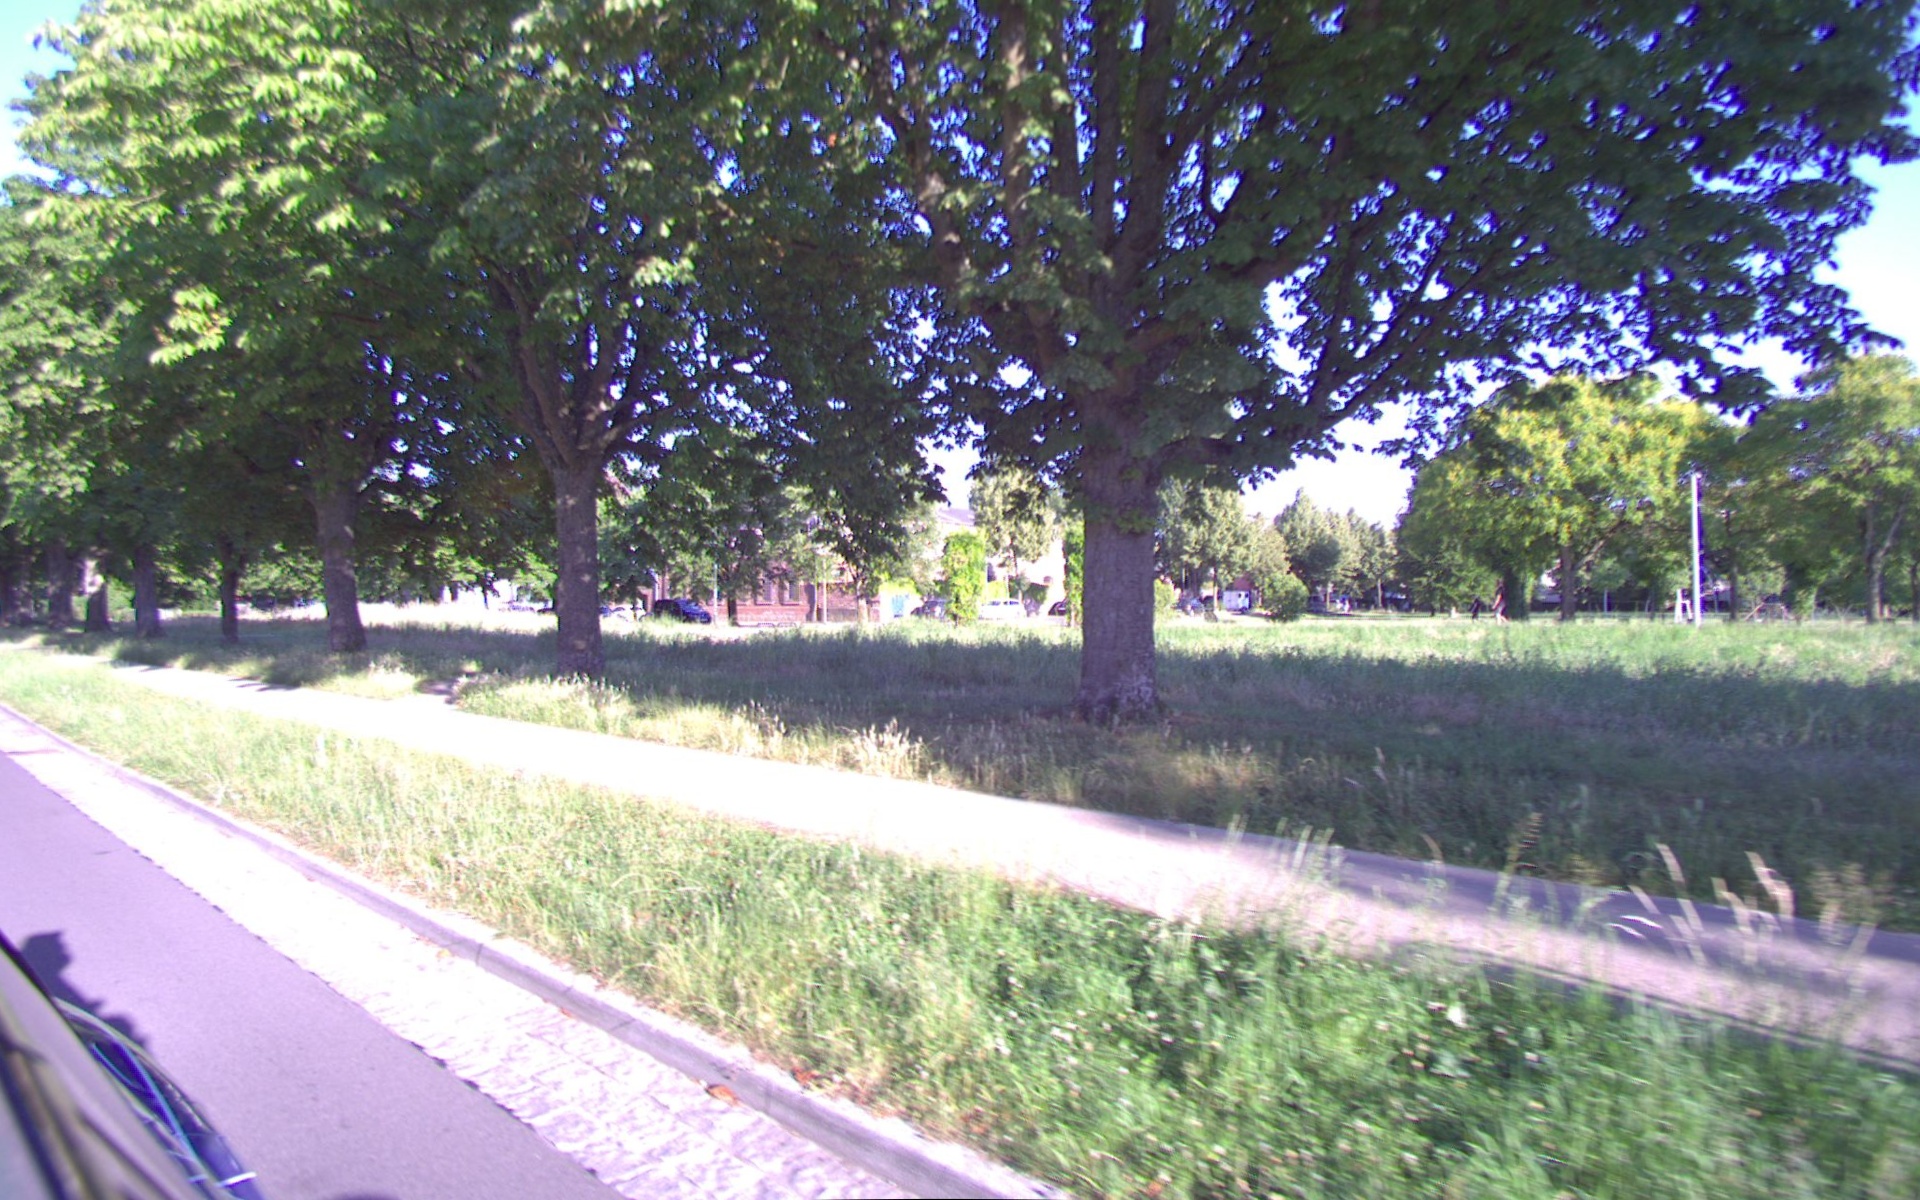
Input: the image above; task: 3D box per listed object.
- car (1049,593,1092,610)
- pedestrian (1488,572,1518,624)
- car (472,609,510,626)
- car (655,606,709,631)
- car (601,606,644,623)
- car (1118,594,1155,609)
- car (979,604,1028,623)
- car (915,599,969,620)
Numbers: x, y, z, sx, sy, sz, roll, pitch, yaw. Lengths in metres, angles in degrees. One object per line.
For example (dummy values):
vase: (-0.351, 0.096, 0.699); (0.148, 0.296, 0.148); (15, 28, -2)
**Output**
car: (8.859, 0.101, 80.778); (1.586, 1.290, 3.589); (0, 0, 42)
pedestrian: (18.484, -0.076, 34.469); (0.709, 1.737, 0.774); (-1, 0, 13)
car: (-42.880, 1.617, 92.514); (3.793, 1.490, 1.744); (0, 0, 41)
car: (-17.282, 1.150, 62.863); (3.639, 1.492, 1.564); (0, 0, 42)
car: (-25.988, 1.085, 77.799); (3.580, 1.284, 1.564); (0, 0, 42)
car: (15.629, 0.155, 89.662); (1.586, 1.290, 3.589); (0, 0, 42)
car: (3.109, 0.945, 72.362); (1.586, 1.290, 3.589); (0, 0, 42)
car: (-1.182, 0.624, 66.934); (1.586, 1.290, 3.589); (0, 0, 42)
